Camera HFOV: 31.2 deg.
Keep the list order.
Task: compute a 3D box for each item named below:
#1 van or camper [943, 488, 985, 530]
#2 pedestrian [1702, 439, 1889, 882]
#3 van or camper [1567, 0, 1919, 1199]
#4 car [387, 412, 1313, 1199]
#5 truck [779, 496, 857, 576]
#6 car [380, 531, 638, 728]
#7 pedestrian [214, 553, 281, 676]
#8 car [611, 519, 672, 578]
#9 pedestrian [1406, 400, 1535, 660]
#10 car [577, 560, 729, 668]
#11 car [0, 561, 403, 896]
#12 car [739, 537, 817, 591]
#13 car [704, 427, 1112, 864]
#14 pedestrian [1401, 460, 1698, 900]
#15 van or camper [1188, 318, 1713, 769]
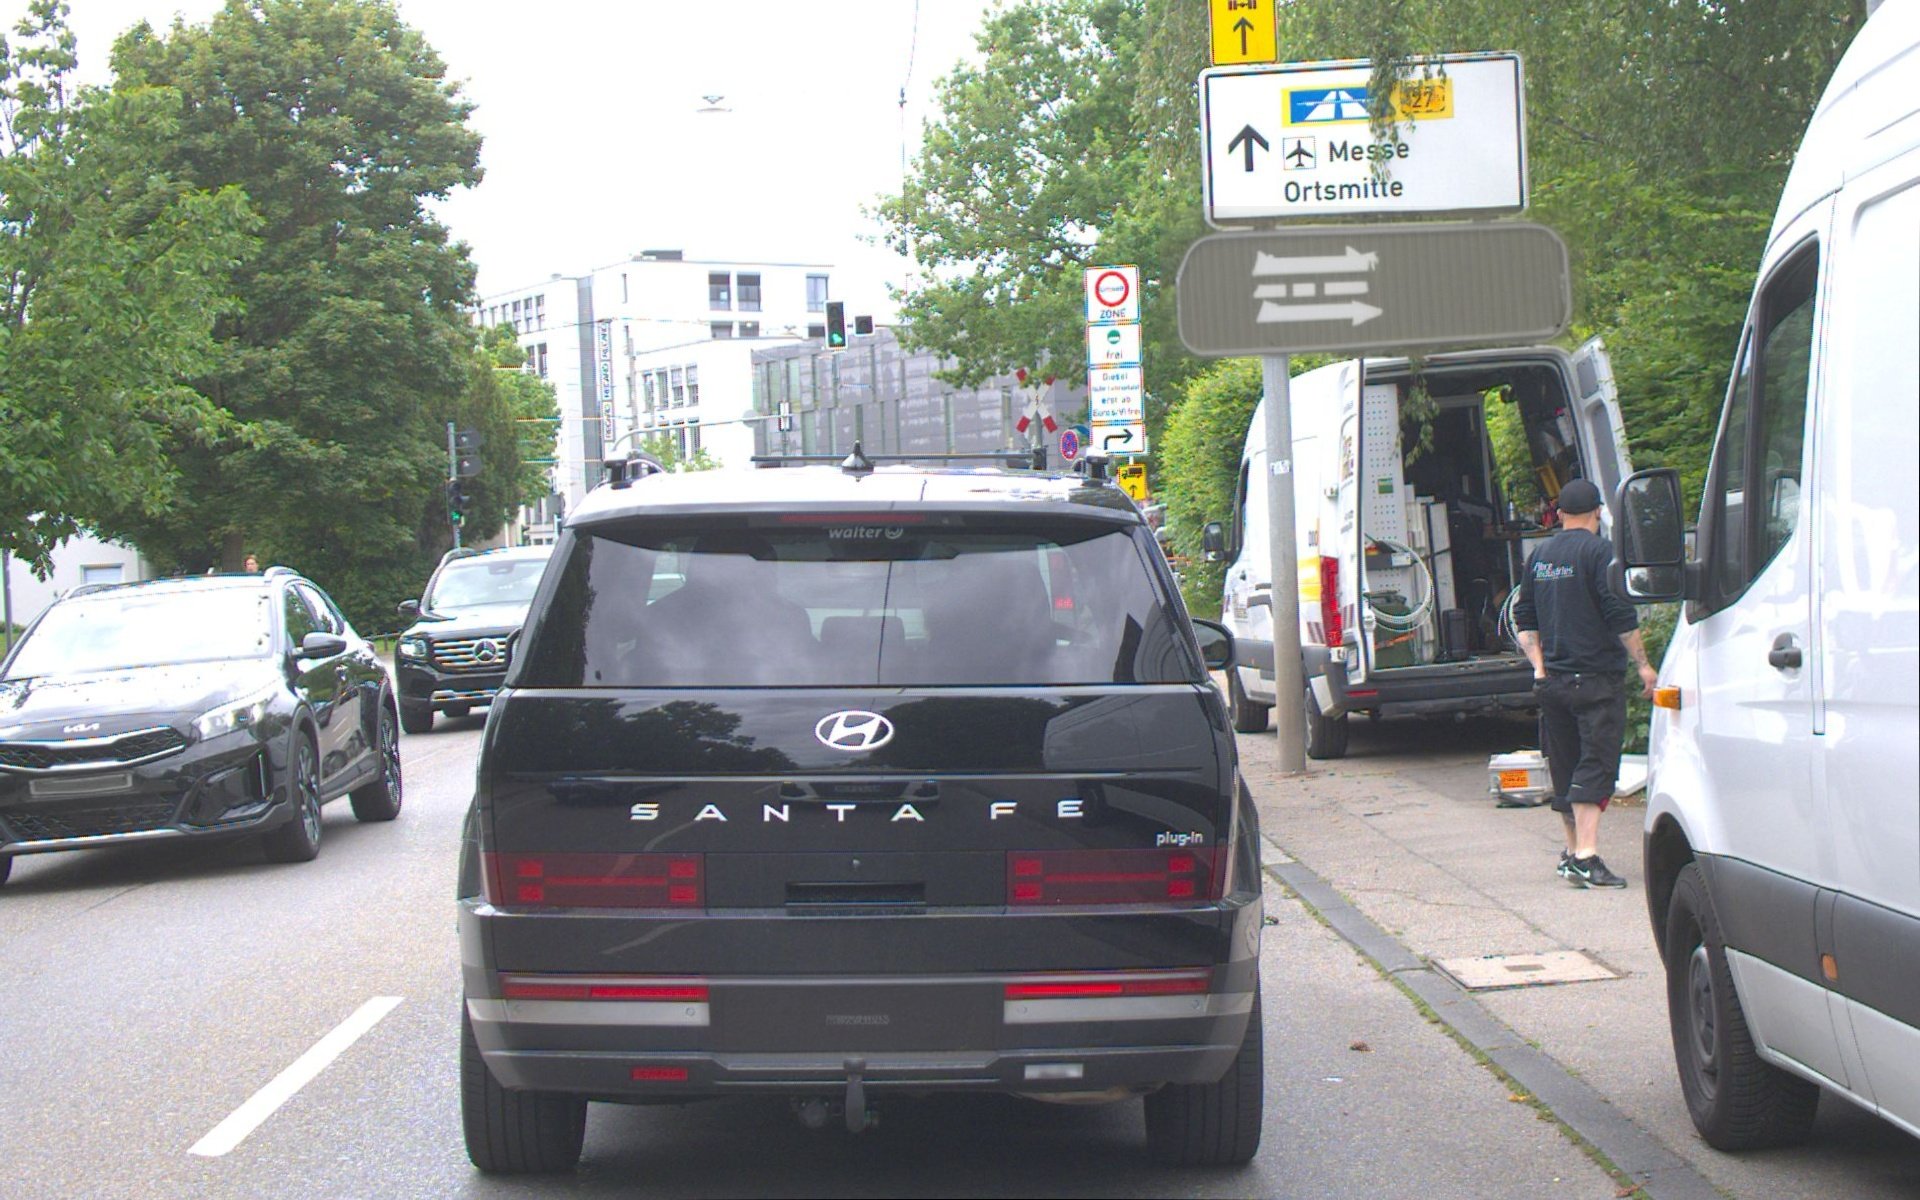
[{"bbox_3d":[0.179,-4.499,170.938,1.795,1.992,3.824,1,1,-4],"label":"van or camper"},{"bbox_3d":[3.406,0.241,13.982,0.648,1.745,0.654,-2,0,17],"label":"pedestrian"},{"bbox_3d":[2.663,0.029,5.419,1.991,2.616,6.544,-5,1,-1],"label":"van or camper"},{"bbox_3d":[-0.250,0.488,9.133,1.897,1.770,3.994,1,1,-1],"label":"car"},{"bbox_3d":[-7.203,-3.199,172.983,3.107,3.846,9.623,-2,1,-6],"label":"truck"},{"bbox_3d":[-4.252,0.236,33.008,1.880,1.639,4.128,-4,1,-1],"label":"car"},{"bbox_3d":[-10.193,0.200,49.188,0.767,1.742,0.904,-1,1,-1],"label":"pedestrian"},{"bbox_3d":[-13.222,-2.121,142.520,2.332,2.307,4.959,-2,1,-6],"label":"car"},{"bbox_3d":[3.347,-0.452,22.525,0.736,1.638,0.801,-3,0,9],"label":"pedestrian"},{"bbox_3d":[-4.577,0.173,51.909,1.814,1.414,4.829,-5,1,-1],"label":"car"},{"bbox_3d":[-4.123,0.592,18.045,1.701,1.478,4.000,-4,1,-1],"label":"car"},{"bbox_3d":[-5.481,-1.103,103.982,1.838,1.533,4.267,-2,1,3],"label":"car"},{"bbox_3d":[-0.267,0.193,18.256,1.897,2.035,3.994,1,1,-1],"label":"car"},{"bbox_3d":[2.432,0.321,14.199,0.789,1.715,0.752,-5,1,-37],"label":"pedestrian"},{"bbox_3d":[3.135,-0.340,23.733,2.340,2.486,6.603,-5,0,-1],"label":"van or camper"}]
